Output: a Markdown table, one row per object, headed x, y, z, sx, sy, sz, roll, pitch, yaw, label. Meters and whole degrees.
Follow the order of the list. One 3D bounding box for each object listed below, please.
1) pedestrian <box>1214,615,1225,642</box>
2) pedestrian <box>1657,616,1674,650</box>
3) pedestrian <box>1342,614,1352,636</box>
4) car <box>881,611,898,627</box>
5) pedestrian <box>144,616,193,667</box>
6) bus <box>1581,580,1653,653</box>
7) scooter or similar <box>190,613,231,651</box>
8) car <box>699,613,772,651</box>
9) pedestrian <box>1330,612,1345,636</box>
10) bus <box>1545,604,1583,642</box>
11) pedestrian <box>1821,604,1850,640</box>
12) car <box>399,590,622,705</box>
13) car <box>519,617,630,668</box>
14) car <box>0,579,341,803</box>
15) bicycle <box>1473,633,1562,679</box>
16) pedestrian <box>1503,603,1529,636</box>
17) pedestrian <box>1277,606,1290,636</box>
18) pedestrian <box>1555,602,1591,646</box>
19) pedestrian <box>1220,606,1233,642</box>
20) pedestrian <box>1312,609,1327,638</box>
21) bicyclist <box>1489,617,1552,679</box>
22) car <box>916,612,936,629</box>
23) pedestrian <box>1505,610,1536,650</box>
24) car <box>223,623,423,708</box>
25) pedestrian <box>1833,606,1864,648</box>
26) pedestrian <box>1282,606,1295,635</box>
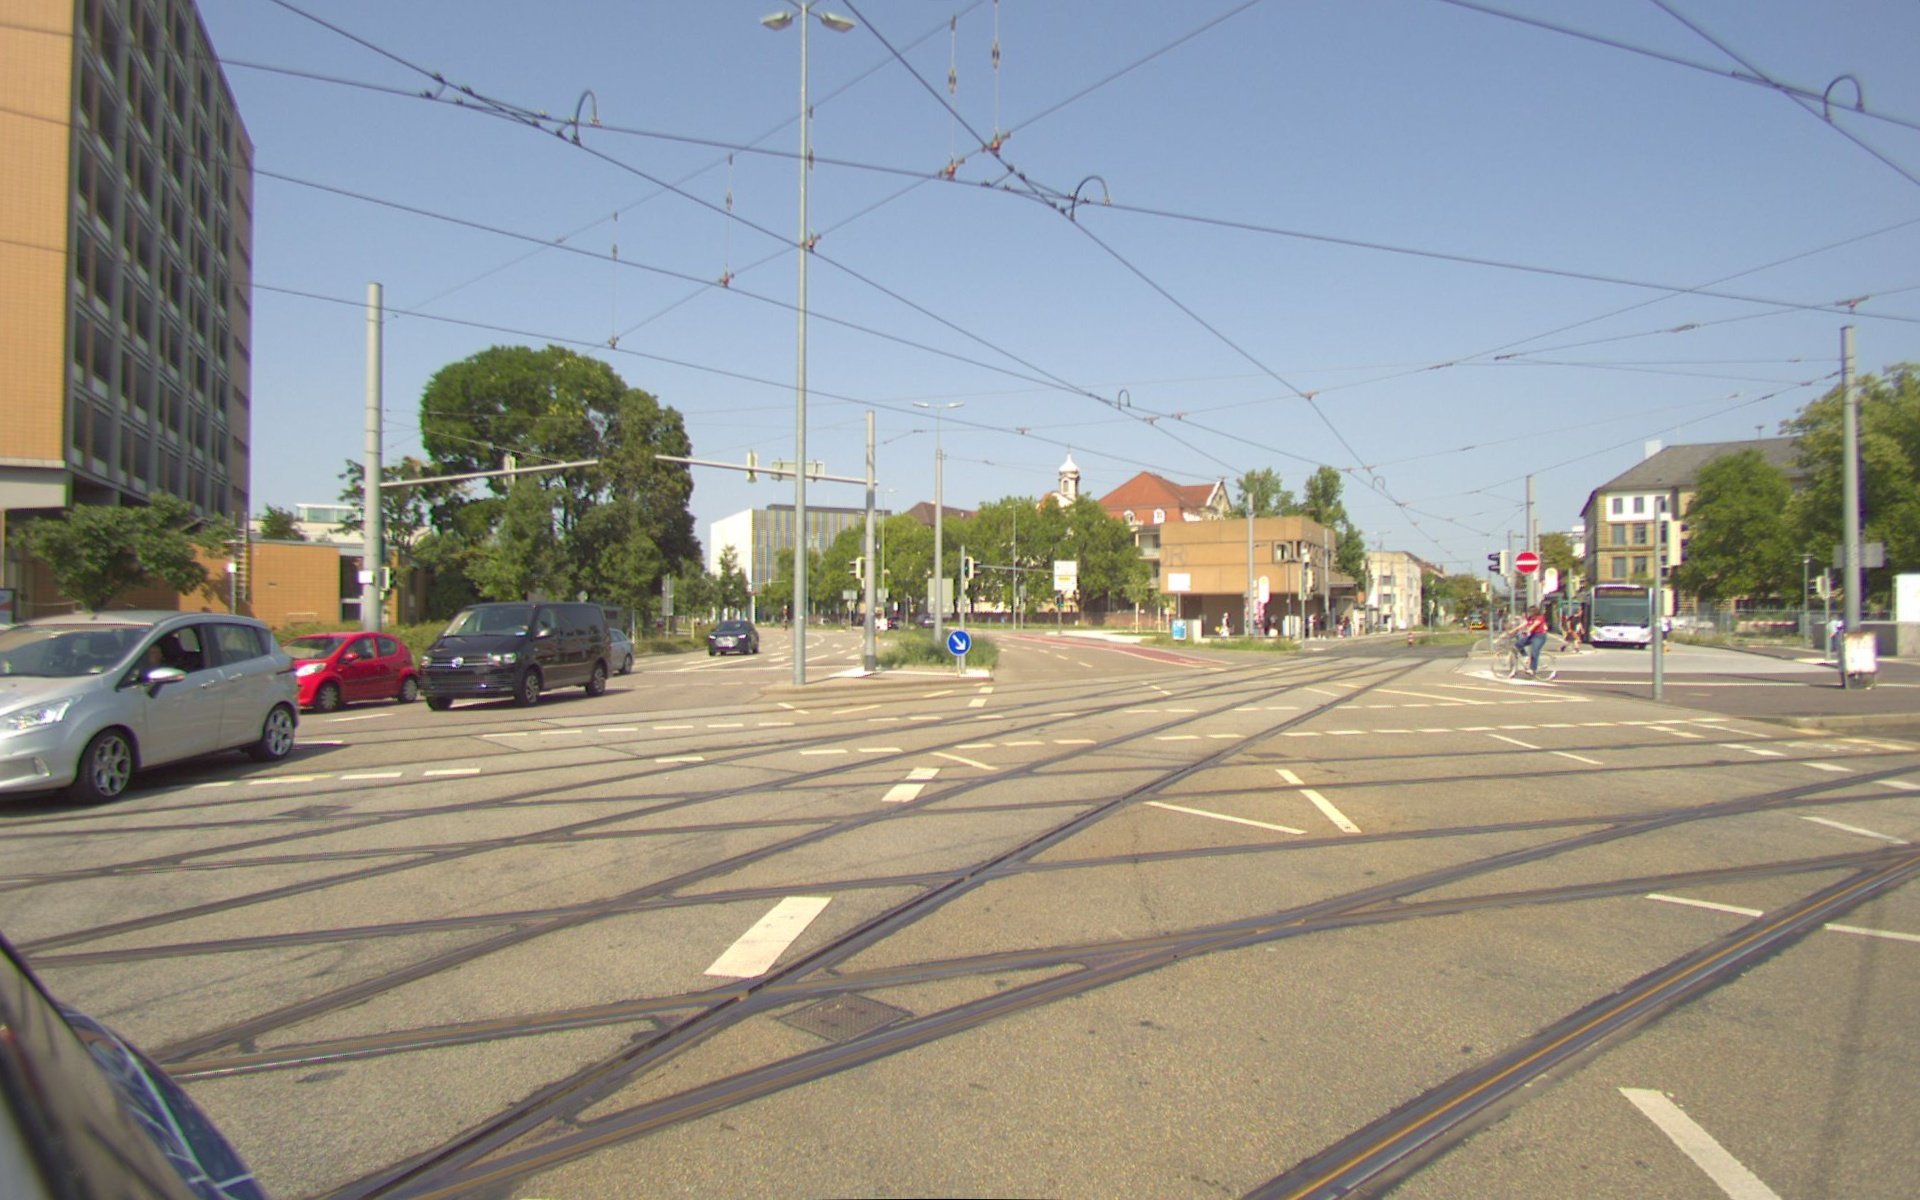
| x | y | z | sx | sy | sz | roll | pitch | yaw | label |
| --- | --- | --- | --- | --- | --- | --- | --- | --- | --- |
| 13.393 | 1.486 | 52.250 | 0.456 | 1.385 | 0.349 | 0 | -1 | 6 | pedestrian |
| 32.220 | 1.517 | 46.248 | 0.575 | 1.540 | 0.593 | 1 | -1 | 31 | pedestrian |
| 27.843 | 1.789 | 72.751 | 0.549 | 1.511 | 0.559 | -2 | -1 | 32 | pedestrian |
| -7.314 | 1.957 | 104.589 | 1.655 | 1.532 | 3.707 | 0 | -1 | -2 | car |
| -22.316 | 1.167 | 28.552 | 0.774 | 1.405 | 0.850 | 0 | -1 | -12 | pedestrian |
| 34.068 | 0.861 | 52.831 | 2.668 | 3.356 | 12.623 | -1 | -1 | 31 | bus |
| -23.826 | 1.008 | 32.200 | 0.437 | 1.166 | 1.145 | 0 | -1 | 0 | scooter or similar |
| -10.384 | 1.467 | 47.204 | 1.975 | 1.653 | 4.690 | 0 | -1 | 6 | car |
| 26.626 | 1.701 | 71.312 | 0.793 | 1.692 | 0.846 | -2 | -1 | 32 | pedestrian |
| 55.127 | 1.985 | 92.488 | 2.531 | 3.055 | 12.312 | -2 | 0 | 29 | bus |
| 38.351 | 0.964 | 44.326 | 0.780 | 1.560 | 0.673 | 1 | -1 | 25 | pedestrian |
| -8.464 | 0.865 | 19.632 | 1.876 | 1.945 | 4.878 | 0 | -1 | 4 | car |
| -10.734 | 1.142 | 28.415 | 1.499 | 1.349 | 3.501 | 0 | -1 | 6 | car |
| -7.770 | 0.679 | 9.401 | 1.667 | 1.607 | 4.366 | 0 | -1 | -5 | car |
| 13.426 | 1.335 | 24.385 | 1.882 | 1.077 | 0.616 | 0 | -1 | -10 | bicycle |
| 30.690 | 1.049 | 55.868 | 0.773 | 1.793 | 0.961 | 1 | -1 | -8 | pedestrian |
| 18.660 | 1.190 | 58.400 | 0.576 | 1.688 | 0.581 | -2 | -1 | 32 | pedestrian |
| 24.950 | 0.974 | 41.211 | 0.943 | 1.793 | 0.787 | 1 | -1 | -12 | pedestrian |
| 13.856 | 1.255 | 52.693 | 0.554 | 1.830 | 0.560 | 0 | -1 | 5 | pedestrian |
| 21.242 | 1.399 | 59.783 | 0.562 | 1.658 | 0.513 | -2 | -1 | -12 | pedestrian |
| 13.499 | 1.143 | 24.385 | 0.964 | 1.470 | 0.879 | 0 | -1 | -10 | bicyclist |
| -3.459 | 2.021 | 102.320 | 1.874 | 1.665 | 4.661 | 0 | -1 | -4 | car |
| 26.038 | 1.385 | 46.995 | 0.943 | 1.793 | 0.787 | 1 | -1 | -12 | pedestrian |
| -11.756 | 1.158 | 18.935 | 1.498 | 1.419 | 3.355 | -1 | -1 | 4 | car |
| 37.111 | 1.135 | 42.273 | 0.780 | 1.741 | 0.673 | 0 | -1 | 25 | pedestrian |
| 19.144 | 1.179 | 58.985 | 0.576 | 1.688 | 0.581 | -2 | -1 | 32 | pedestrian |
